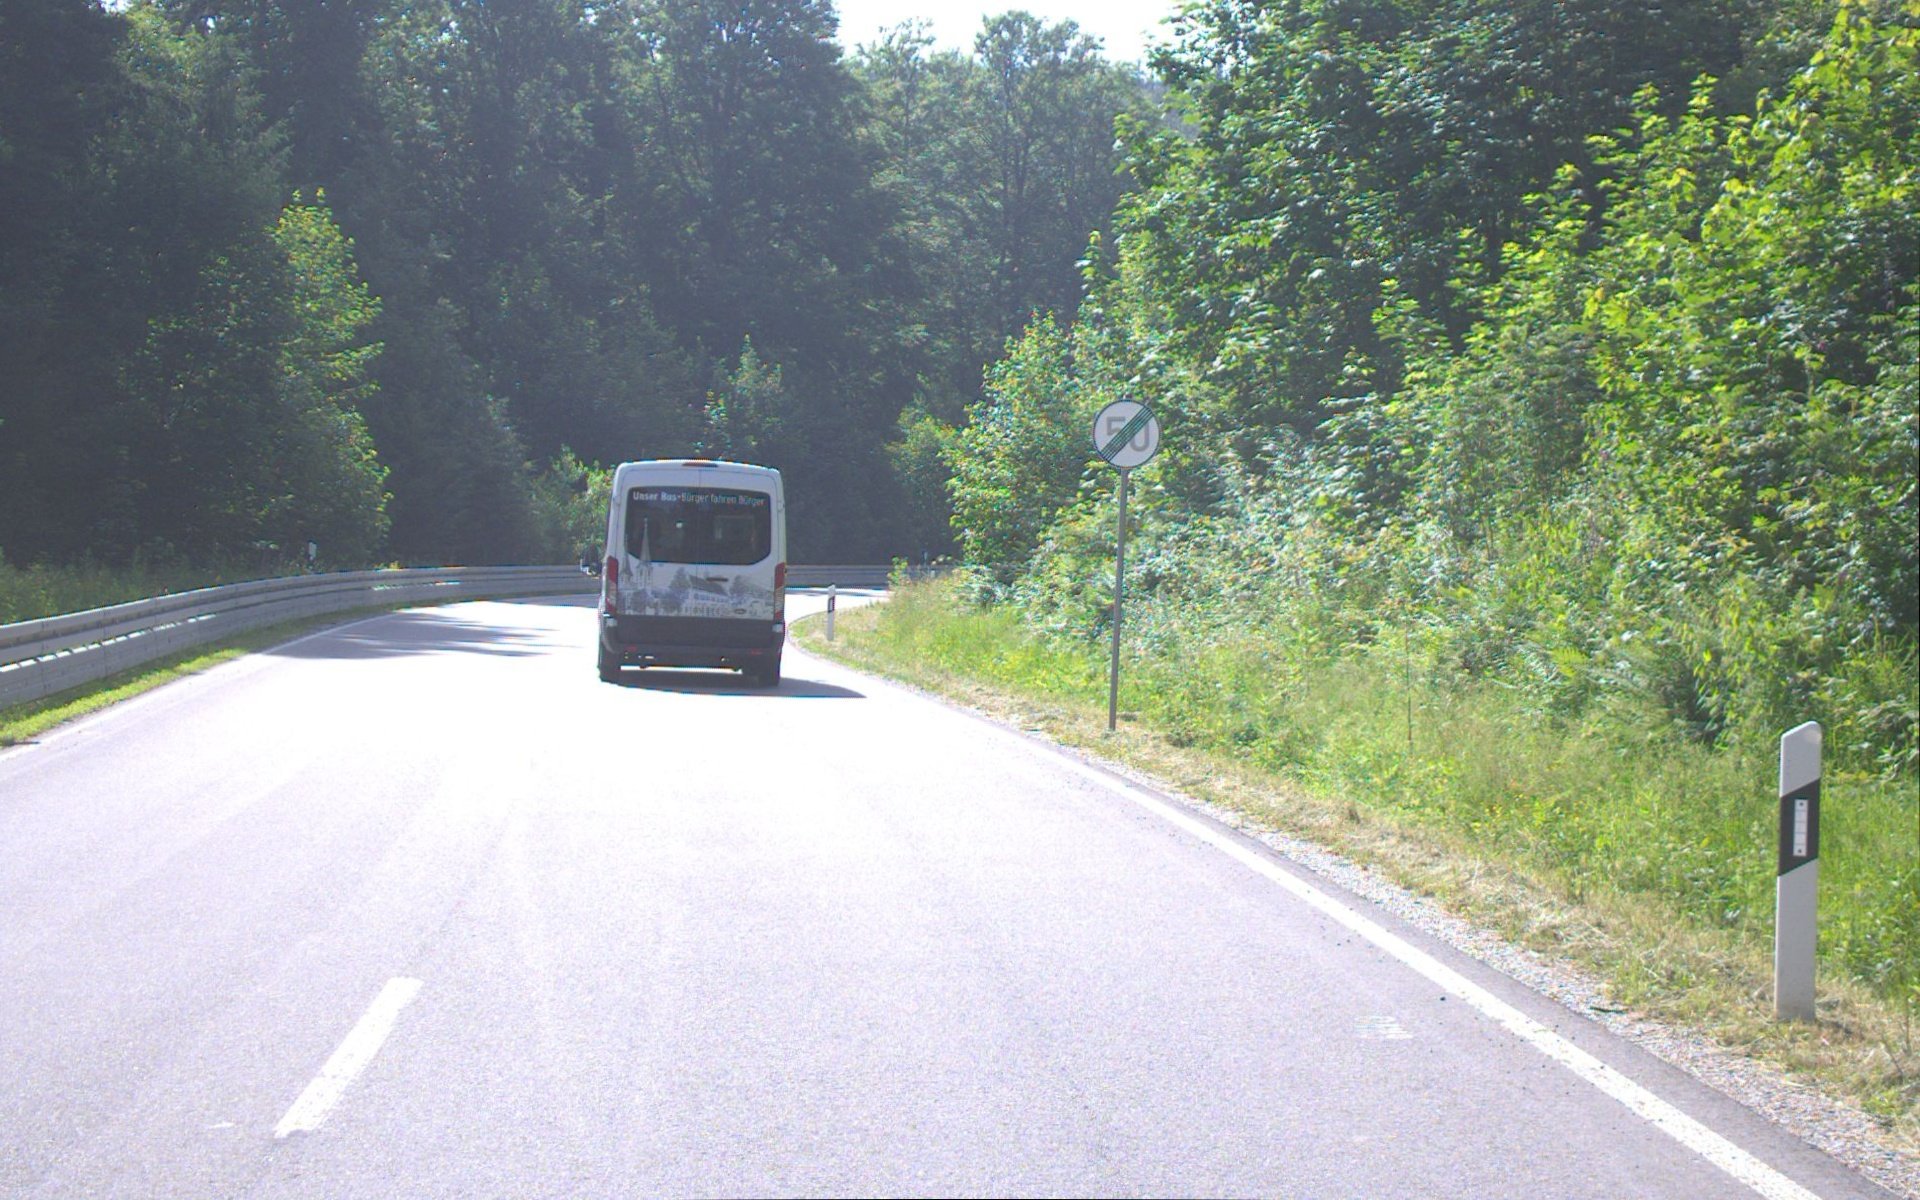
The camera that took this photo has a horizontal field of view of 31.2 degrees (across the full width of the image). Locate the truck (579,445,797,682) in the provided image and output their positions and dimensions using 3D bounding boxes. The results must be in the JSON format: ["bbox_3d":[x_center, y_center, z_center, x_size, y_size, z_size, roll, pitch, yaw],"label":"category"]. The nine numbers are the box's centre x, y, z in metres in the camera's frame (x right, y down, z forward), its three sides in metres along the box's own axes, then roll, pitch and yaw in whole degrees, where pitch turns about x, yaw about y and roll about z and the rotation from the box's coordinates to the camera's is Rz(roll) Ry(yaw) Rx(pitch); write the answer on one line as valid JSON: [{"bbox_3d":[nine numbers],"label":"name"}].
[{"bbox_3d":[-3.216,-0.439,39.653,2.115,2.489,5.361,2,1,-8],"label":"truck"}]
